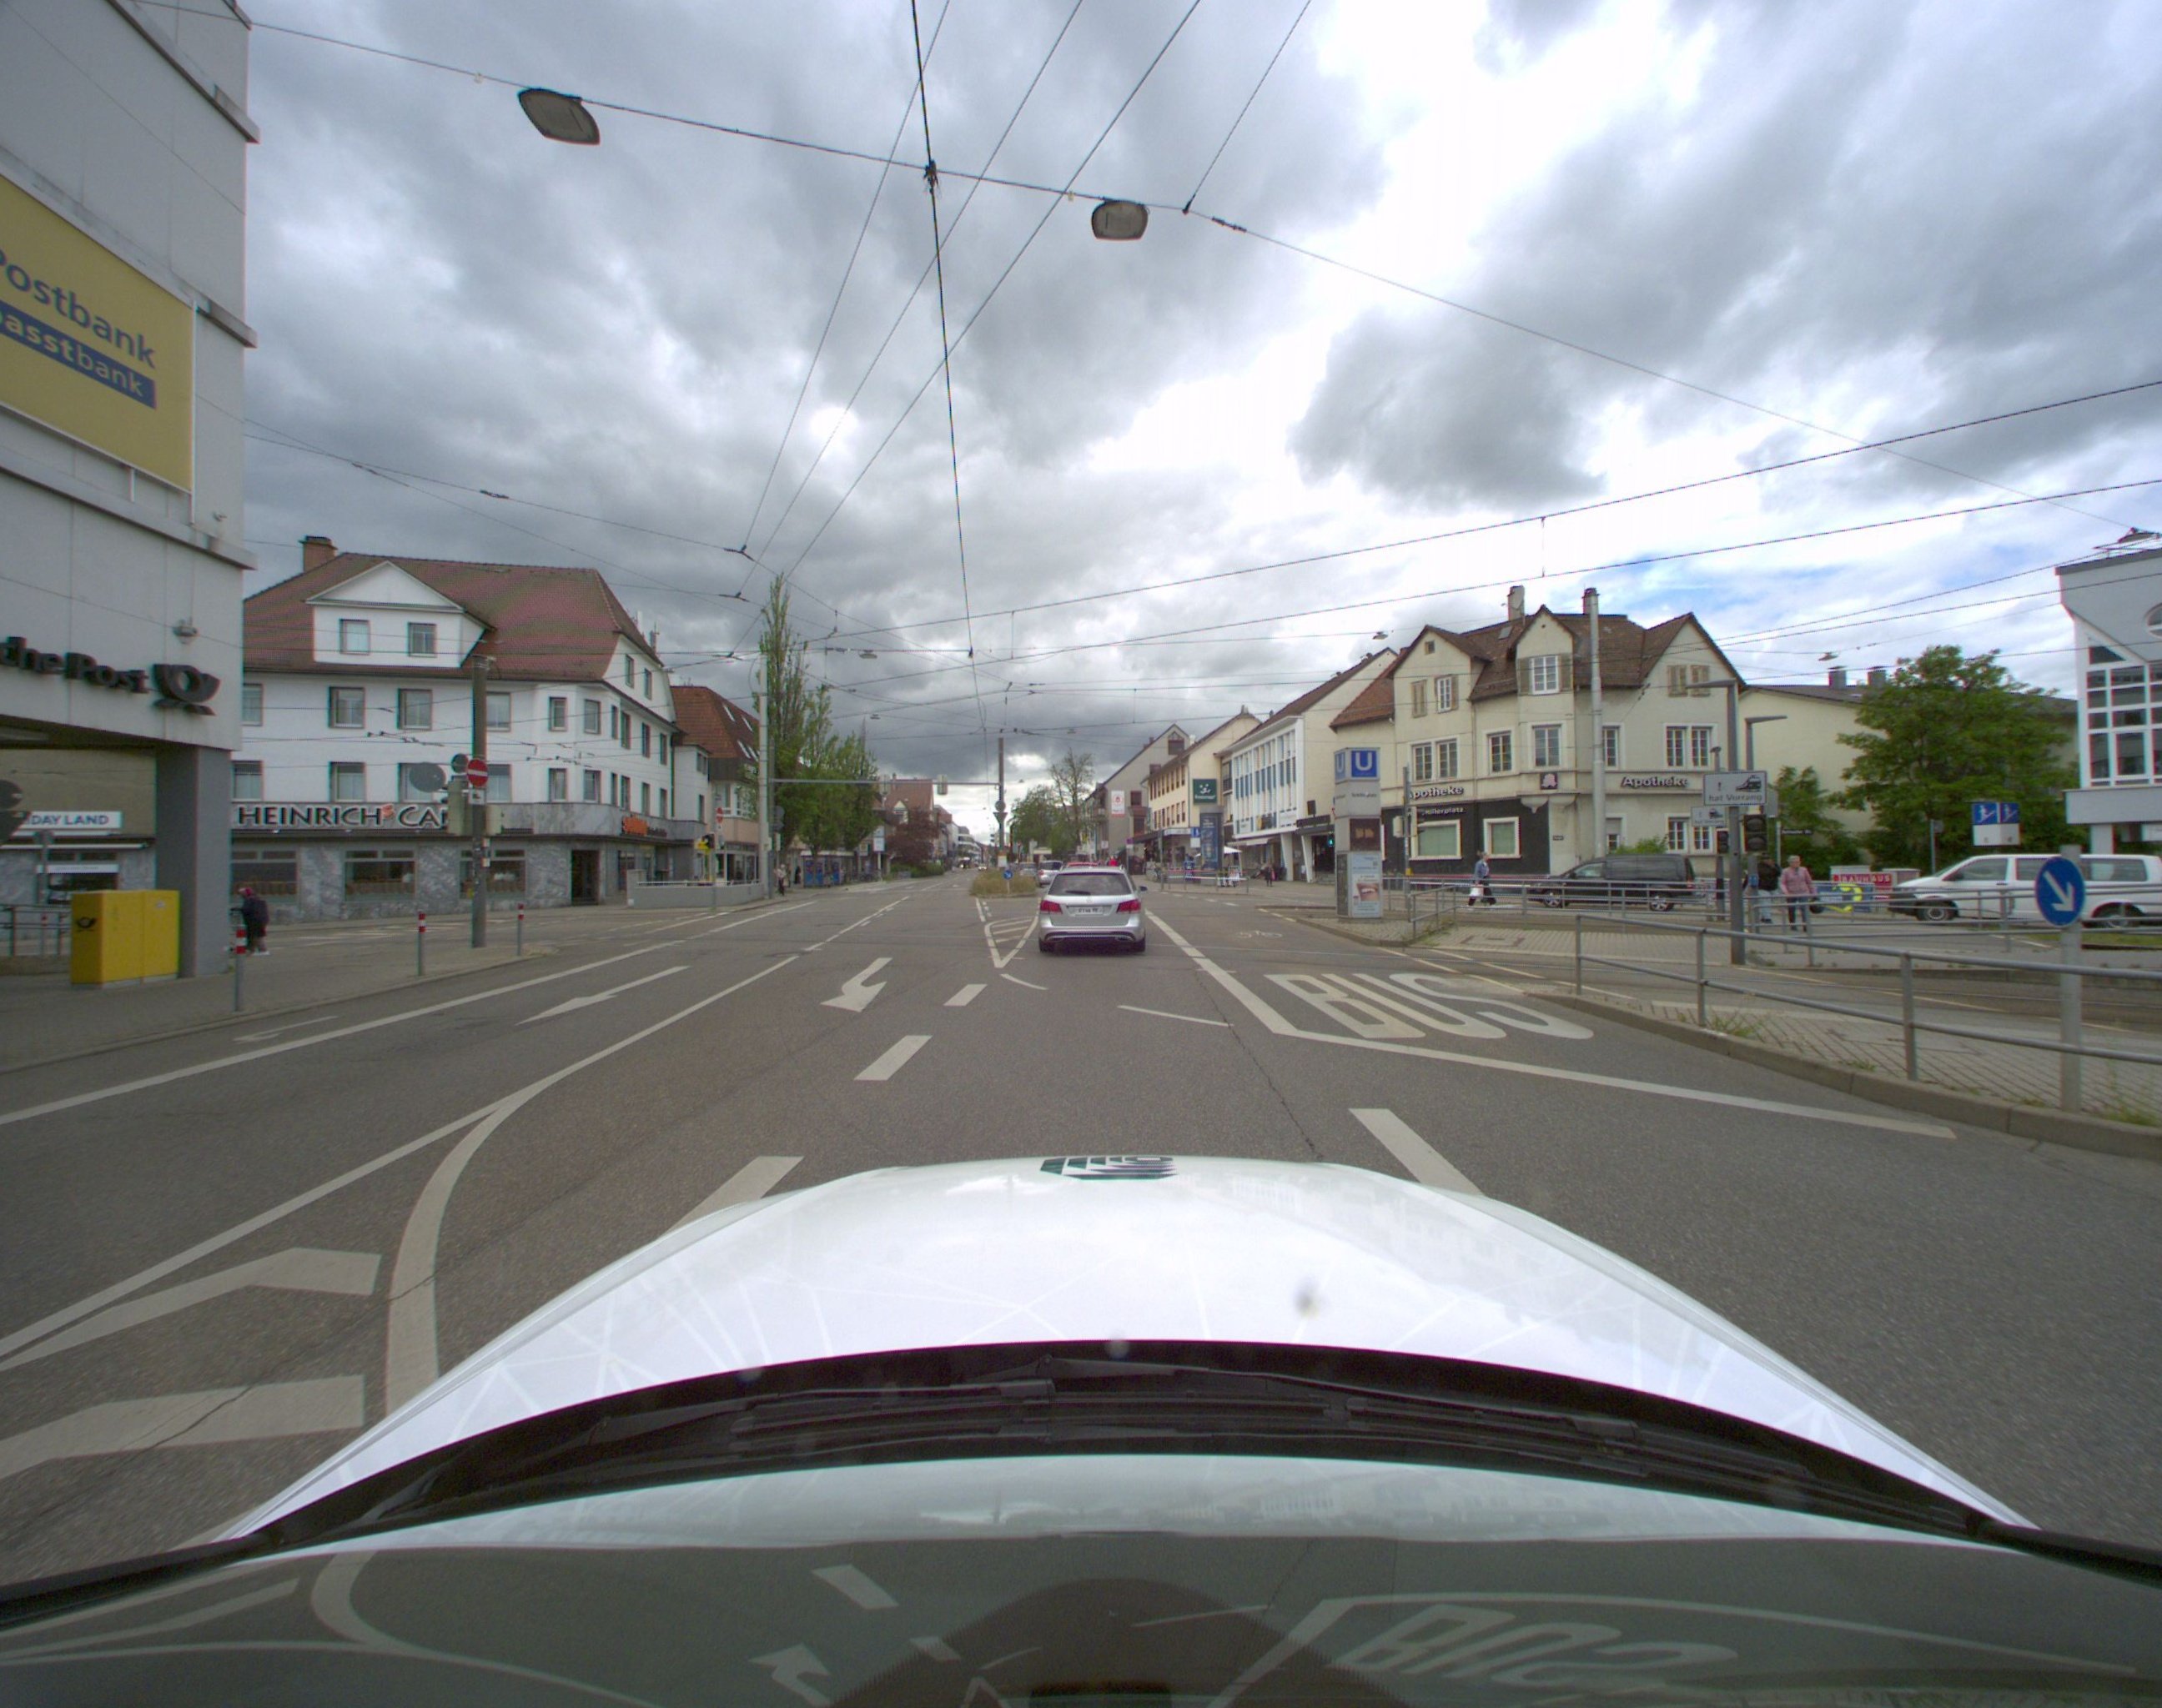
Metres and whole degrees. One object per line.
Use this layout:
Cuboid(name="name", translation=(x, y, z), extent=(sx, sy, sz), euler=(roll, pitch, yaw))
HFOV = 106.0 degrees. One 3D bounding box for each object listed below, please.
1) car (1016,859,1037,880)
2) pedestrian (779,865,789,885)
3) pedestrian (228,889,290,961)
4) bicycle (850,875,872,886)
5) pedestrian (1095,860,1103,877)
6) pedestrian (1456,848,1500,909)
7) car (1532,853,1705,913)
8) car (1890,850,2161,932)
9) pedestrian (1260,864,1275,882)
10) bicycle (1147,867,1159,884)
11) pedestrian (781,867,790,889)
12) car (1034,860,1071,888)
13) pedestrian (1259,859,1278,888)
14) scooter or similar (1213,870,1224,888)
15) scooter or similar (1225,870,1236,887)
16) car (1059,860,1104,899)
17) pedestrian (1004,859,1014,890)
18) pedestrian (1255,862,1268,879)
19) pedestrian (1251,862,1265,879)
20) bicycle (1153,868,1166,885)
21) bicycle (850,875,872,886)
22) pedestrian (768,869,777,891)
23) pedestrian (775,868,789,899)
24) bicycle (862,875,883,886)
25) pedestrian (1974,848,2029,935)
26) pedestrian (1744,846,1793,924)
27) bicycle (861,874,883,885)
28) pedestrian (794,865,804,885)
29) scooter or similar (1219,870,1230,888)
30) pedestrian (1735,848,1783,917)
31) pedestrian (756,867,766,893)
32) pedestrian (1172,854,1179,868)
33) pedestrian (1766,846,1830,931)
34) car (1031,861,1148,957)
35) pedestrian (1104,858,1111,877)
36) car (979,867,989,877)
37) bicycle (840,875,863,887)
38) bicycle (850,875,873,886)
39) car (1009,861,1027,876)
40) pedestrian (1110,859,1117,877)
Cuboid(name="car", translation=(-4.893, 1.386, 72.887), extent=(1.731, 1.759, 3.993), euler=(-1, -1, -5))
Cuboid(name="pedestrian", translation=(-24.561, 1.732, 67.454), extent=(0.706, 1.606, 0.574), euler=(0, -1, -27))
Cuboid(name="pedestrian", translation=(-16.930, 1.439, 16.783), extent=(0.497, 1.414, 0.756), euler=(-1, -1, 19))
Cuboid(name="bicycle", translation=(-20.143, 2.412, 74.549), extent=(1.941, 1.029, 0.527), euler=(0, -1, -16))
Cuboid(name="pedestrian", translation=(1.484, 1.194, 68.389), extent=(0.577, 1.435, 0.649), euler=(0, -1, -7))
Cuboid(name="pedestrian", translation=(11.463, 0.706, 23.510), extent=(0.841, 1.718, 0.725), euler=(-1, -1, -9))
Cuboid(name="car", translation=(17.739, 0.928, 27.004), extent=(4.635, 1.821, 1.876), euler=(-1, -2, 38))
Cuboid(name="car", translation=(24.452, 0.926, 21.226), extent=(4.724, 1.919, 2.001), euler=(-1, -2, 45))
Cuboid(name="pedestrian", translation=(12.107, 1.243, 52.915), extent=(0.736, 1.164, 0.641), euler=(0, -1, -9))
Cuboid(name="bicycle", translation=(4.839, 1.414, 54.698), extent=(0.447, 1.091, 2.145), euler=(-1, -1, -5))
Cuboid(name="pedestrian", translation=(-21.059, 1.708, 58.024), extent=(0.579, 1.606, 0.640), euler=(-1, -1, -19))
Cuboid(name="car", translation=(-1.720, 1.164, 48.017), extent=(1.733, 1.508, 3.988), euler=(-1, -1, -8))
Cuboid(name="pedestrian", translation=(10.710, 1.113, 46.559), extent=(0.644, 1.591, 0.890), euler=(1, -1, -26))
Cuboid(name="scooter or similar", translation=(8.066, 1.458, 47.773), extent=(0.271, 1.001, 1.026), euler=(-1, -1, -9))
Cuboid(name="scooter or similar", translation=(8.783, 1.452, 47.923), extent=(0.271, 1.001, 1.026), euler=(-1, -1, -9))
Cuboid(name="car", translation=(0.019, 1.006, 33.826), extent=(1.729, 1.508, 3.999), euler=(-1, -1, 0))
Cuboid(name="pedestrian", translation=(-4.112, 1.182, 46.462), extent=(0.533, 1.763, 0.578), euler=(-1, -1, -8))
Cuboid(name="pedestrian", translation=(12.375, 1.157, 55.881), extent=(0.736, 1.164, 0.641), euler=(0, -1, -9))
Cuboid(name="pedestrian", translation=(12.273, 1.157, 56.531), extent=(0.736, 1.164, 0.641), euler=(0, -1, -9))
Cuboid(name="bicycle", translation=(5.287, 1.505, 54.746), extent=(0.447, 1.107, 2.145), euler=(-1, -1, -5))
Cuboid(name="bicycle", translation=(-19.955, 2.403, 73.975), extent=(1.941, 1.029, 0.527), euler=(0, -1, -16))
Cuboid(name="pedestrian", translation=(-22.754, 1.890, 59.987), extent=(0.579, 1.606, 0.640), euler=(-1, -1, -19))
Cuboid(name="pedestrian", translation=(-15.788, 1.547, 43.003), extent=(0.635, 1.606, 0.700), euler=(-1, -1, -19))
Cuboid(name="bicycle", translation=(-19.553, 2.445, 76.382), extent=(1.941, 1.029, 0.527), euler=(0, -1, -16))
Cuboid(name="pedestrian", translation=(18.686, 0.746, 16.552), extent=(0.641, 1.718, 0.794), euler=(0, -1, 41))
Cuboid(name="pedestrian", translation=(15.555, 0.692, 18.436), extent=(0.695, 1.718, 0.654), euler=(-2, -1, 29))
Cuboid(name="bicycle", translation=(-19.855, 2.461, 77.325), extent=(1.941, 1.029, 0.527), euler=(0, -1, -16))
Cuboid(name="pedestrian", translation=(-22.747, 1.692, 65.728), extent=(0.706, 1.606, 0.574), euler=(0, -1, -27))
Cuboid(name="scooter or similar", translation=(8.425, 1.454, 47.852), extent=(0.271, 1.001, 1.026), euler=(-1, -1, -9))
Cuboid(name="pedestrian", translation=(17.181, 0.712, 20.652), extent=(0.779, 1.718, 0.653), euler=(1, -1, 25))
Cuboid(name="pedestrian", translation=(-23.190, 1.871, 58.985), extent=(0.644, 1.836, 0.576), euler=(-1, -1, -20))
Cuboid(name="pedestrian", translation=(8.181, 0.590, 70.614), extent=(0.533, 1.218, 0.578), euler=(0, -1, -9))
Cuboid(name="pedestrian", translation=(14.885, 0.703, 16.934), extent=(0.781, 1.718, 0.652), euler=(1, -1, 12))
Cuboid(name="car", translation=(0.262, 0.905, 15.109), extent=(1.838, 1.508, 4.175), euler=(-1, -1, 3))
Cuboid(name="pedestrian", translation=(2.341, 1.220, 72.434), extent=(0.576, 1.666, 0.651), euler=(0, -1, 0))
Cuboid(name="car", translation=(-19.680, 3.645, 165.744), extent=(1.992, 2.014, 3.989), euler=(0, -1, -8))
Cuboid(name="bicycle", translation=(-20.404, 2.377, 72.521), extent=(1.941, 1.029, 0.527), euler=(0, -1, -16))
Cuboid(name="bicycle", translation=(-19.752, 2.393, 73.335), extent=(1.941, 1.029, 0.527), euler=(0, -1, -16))
Cuboid(name="car", translation=(-7.493, 1.703, 96.547), extent=(1.991, 1.750, 3.991), euler=(0, -1, -6))
Cuboid(name="pedestrian", translation=(2.777, 1.193, 68.799), extent=(0.575, 1.469, 0.651), euler=(0, -1, 4))
